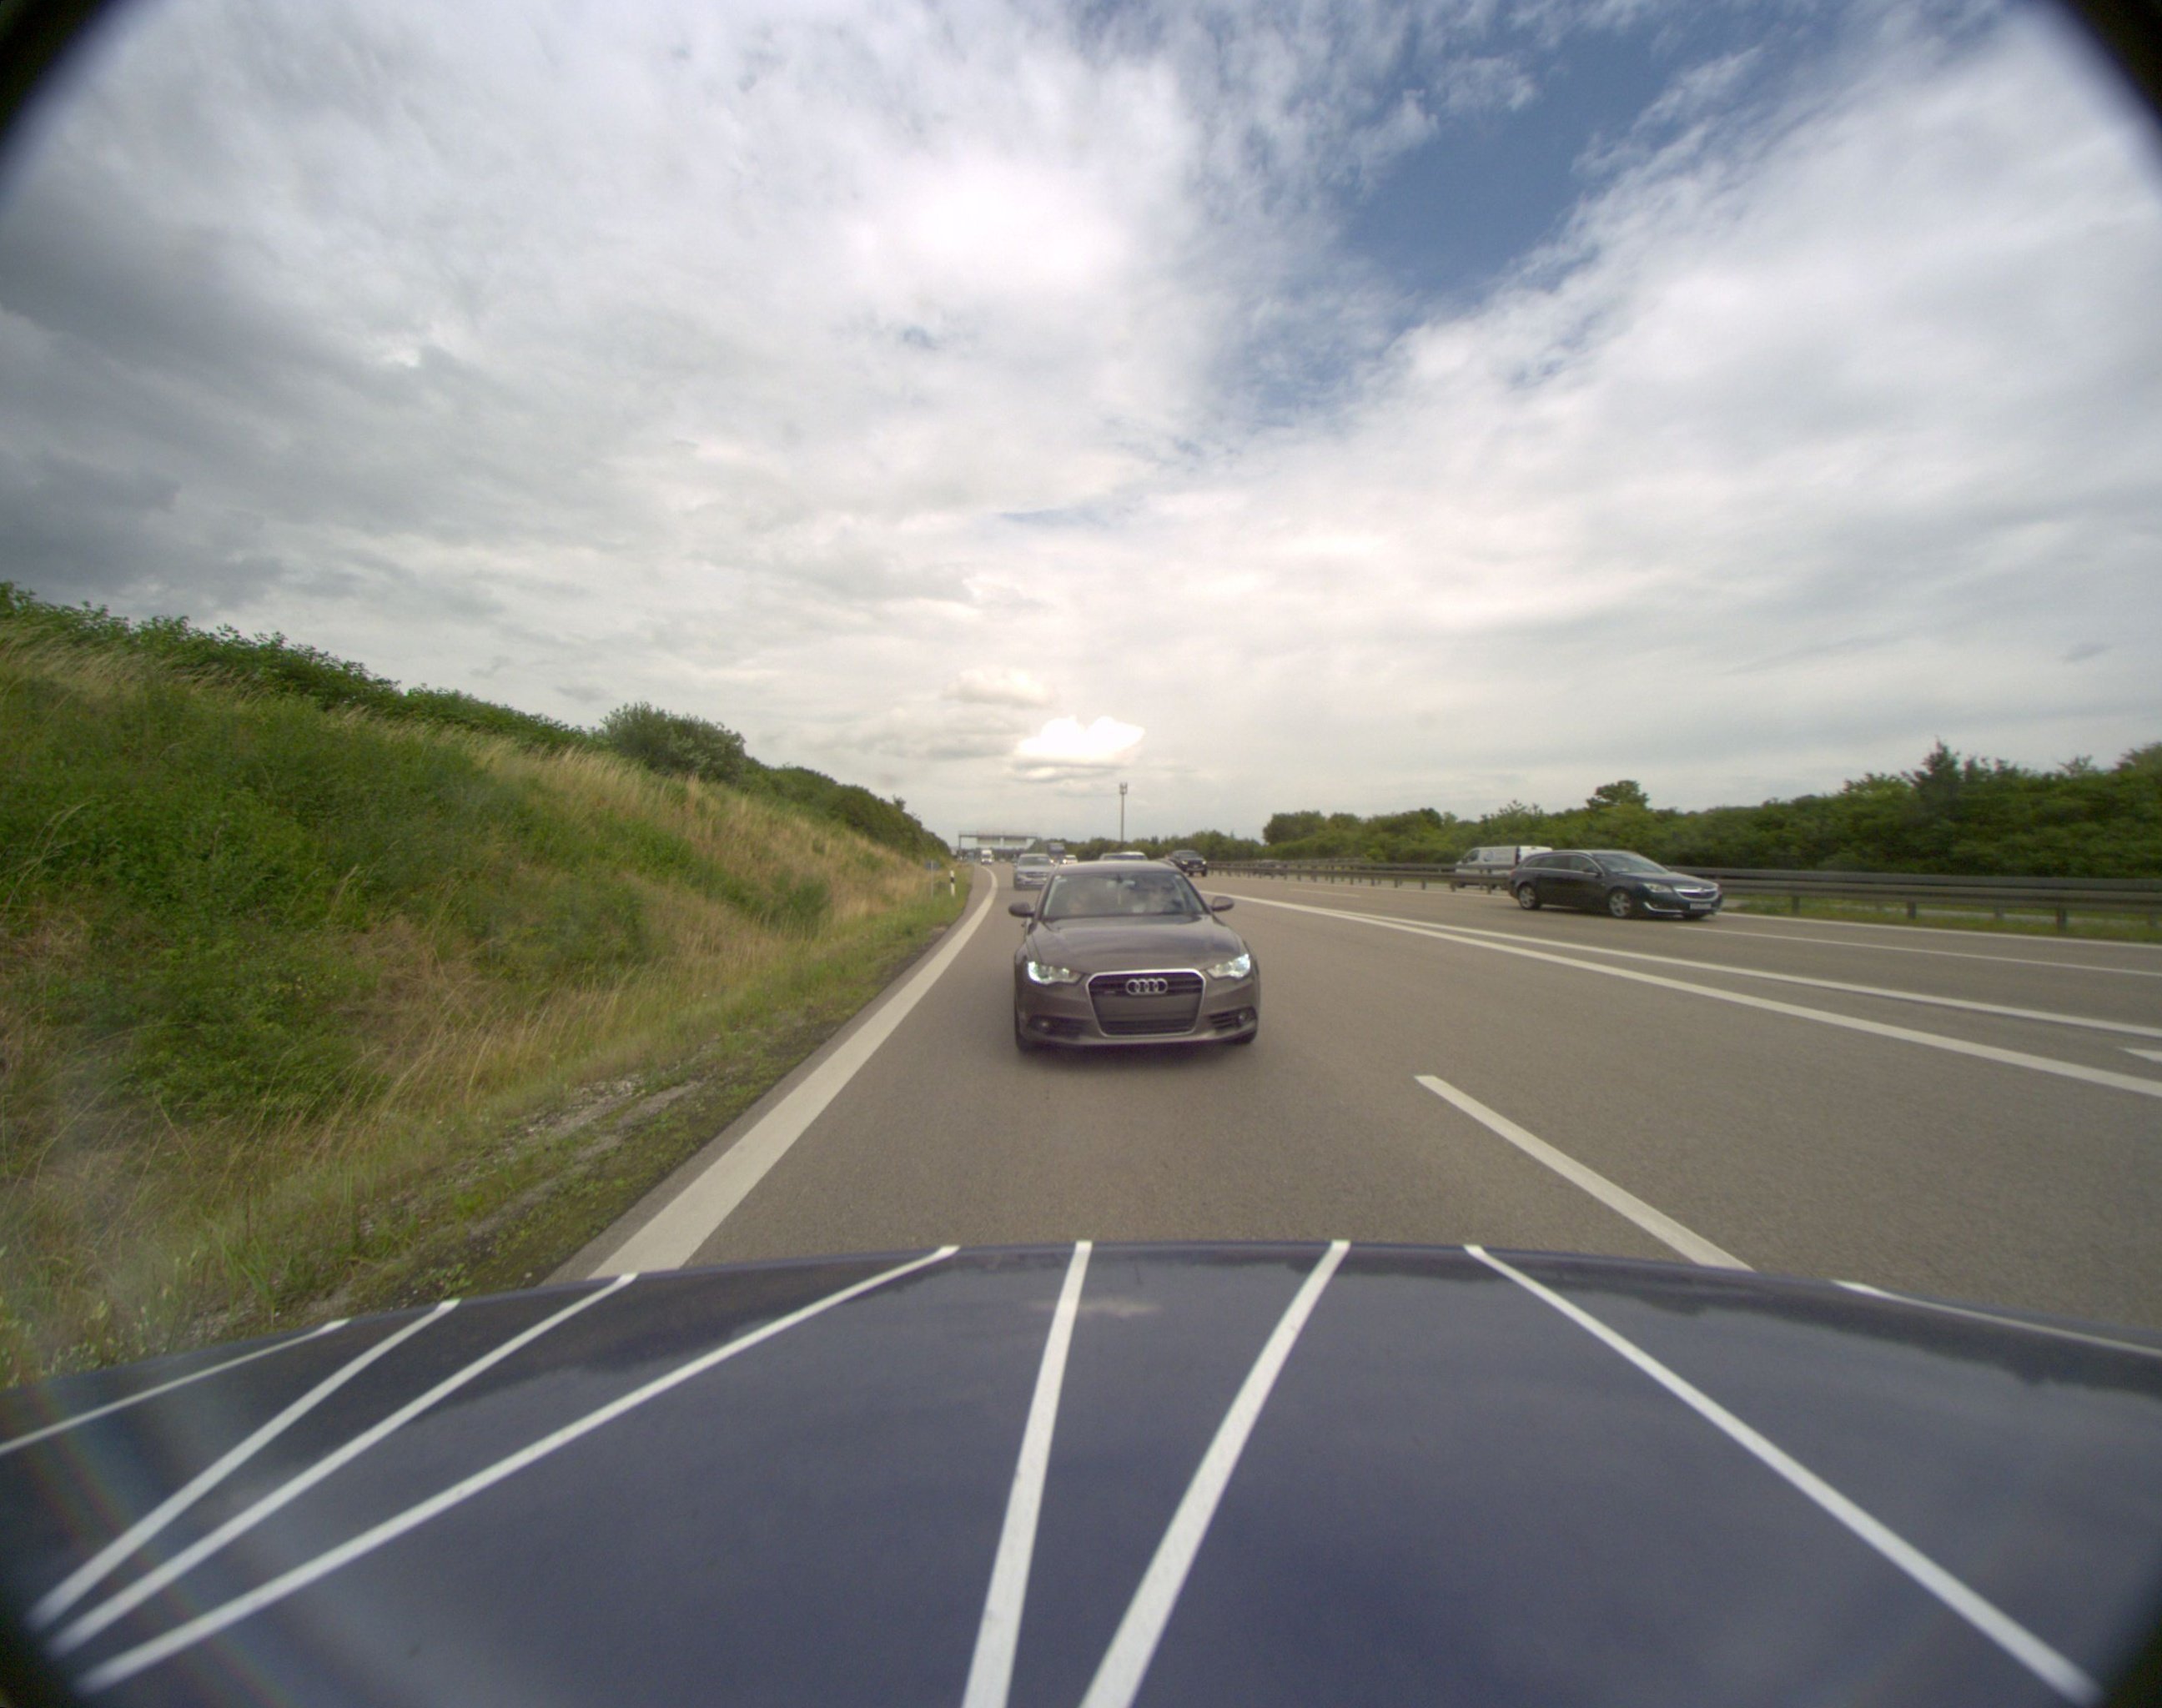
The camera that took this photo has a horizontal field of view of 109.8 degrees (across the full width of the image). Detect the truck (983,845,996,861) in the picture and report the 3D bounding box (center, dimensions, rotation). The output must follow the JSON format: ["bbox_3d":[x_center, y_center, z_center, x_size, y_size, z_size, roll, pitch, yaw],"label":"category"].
[{"bbox_3d":[-19.268,-0.145,159.807,2.450,3.216,7.186,-1,0,-7],"label":"truck"}]

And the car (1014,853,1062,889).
[{"bbox_3d":[-2.069,0.731,35.180,2.000,1.567,3.997,-1,0,-6],"label":"car"}]

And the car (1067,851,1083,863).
[{"bbox_3d":[-0.906,0.395,115.798,2.000,1.799,3.998,0,0,-6],"label":"car"}]

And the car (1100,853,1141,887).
[{"bbox_3d":[1.937,0.761,38.172,1.838,1.557,4.497,-1,0,1],"label":"car"}]

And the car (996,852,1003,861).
[{"bbox_3d":[-24.241,0.748,226.227,1.999,2.381,3.997,-2,1,-5],"label":"car"}]

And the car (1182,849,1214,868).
[{"bbox_3d":[14.870,0.536,97.094,2.169,2.317,6.672,-1,0,-8],"label":"car"}]

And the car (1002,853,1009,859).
[{"bbox_3d":[-23.730,0.604,238.083,1.999,2.002,3.998,-2,1,-3],"label":"car"}]

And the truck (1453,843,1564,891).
[{"bbox_3d":[19.199,0.547,34.407,2.000,2.002,4.716,-1,0,-7],"label":"truck"}]

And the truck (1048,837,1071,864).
[{"bbox_3d":[-2.987,-0.423,102.734,2.475,3.350,7.920,-1,-1,-6],"label":"truck"}]

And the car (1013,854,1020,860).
[{"bbox_3d":[-19.531,0.914,230.855,1.999,2.002,3.999,0,0,-2],"label":"car"}]

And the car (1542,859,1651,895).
[{"bbox_3d":[23.323,0.995,34.593,2.000,1.510,3.998,-1,0,-6],"label":"car"}]

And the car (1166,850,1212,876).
[{"bbox_3d":[7.689,0.587,54.837,2.000,1.775,5.408,-1,0,-6],"label":"car"}]

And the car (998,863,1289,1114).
[{"bbox_3d":[0.322,0.885,6.890,1.849,1.489,4.027,-1,0,-3],"label":"car"}]

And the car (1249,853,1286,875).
[{"bbox_3d":[17.759,0.908,72.365,2.000,2.002,3.996,-2,1,-9],"label":"car"}]

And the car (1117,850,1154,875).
[{"bbox_3d":[3.840,0.579,54.077,1.882,1.741,4.484,-1,0,-6],"label":"car"}]

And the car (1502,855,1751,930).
[{"bbox_3d":[11.756,0.729,16.899,1.727,1.415,4.794,0,0,-7],"label":"car"}]
